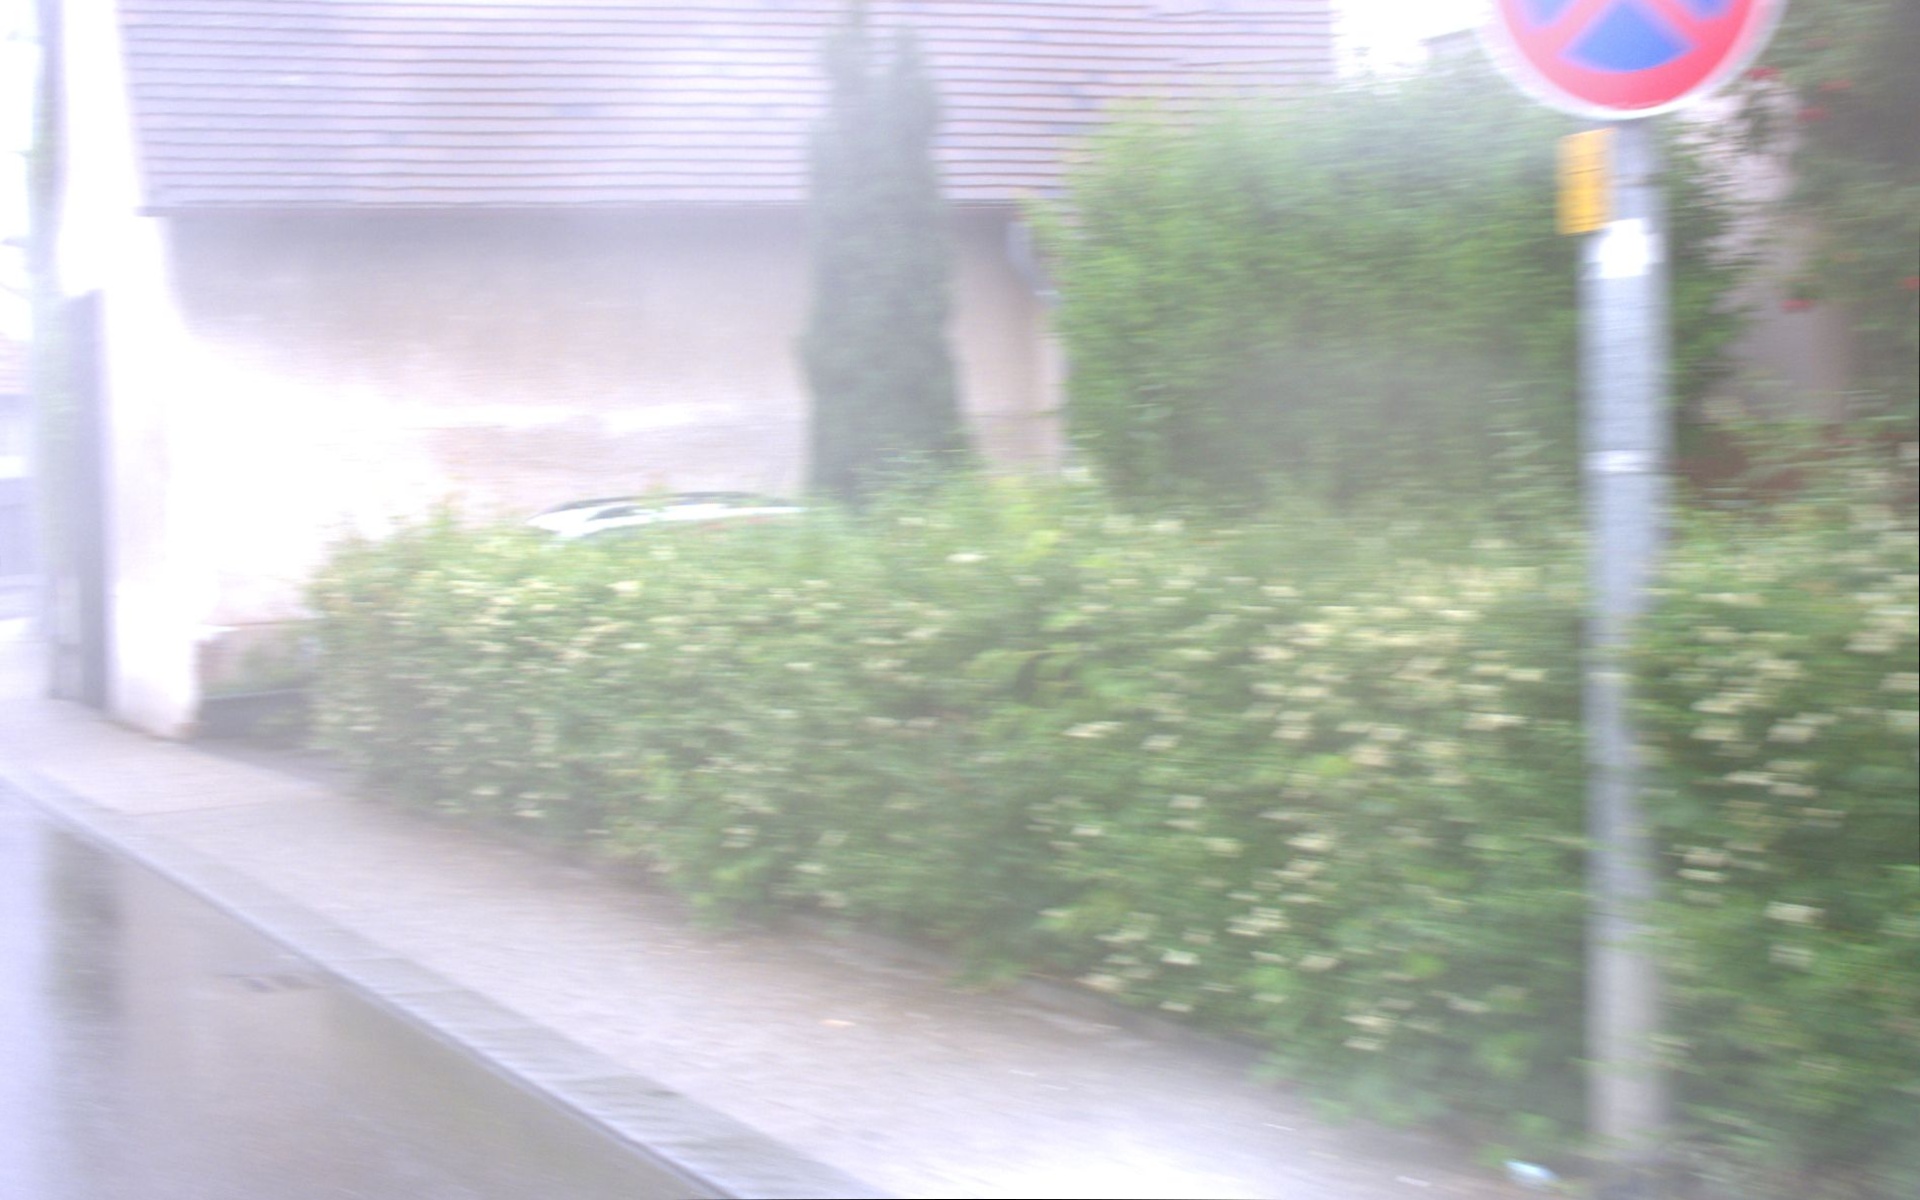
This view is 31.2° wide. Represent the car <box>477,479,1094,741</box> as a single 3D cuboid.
[{"bbox_3d":[-1.337,0.028,26.099,4.216,1.643,1.903,-4,2,-21],"label":"car"}]
